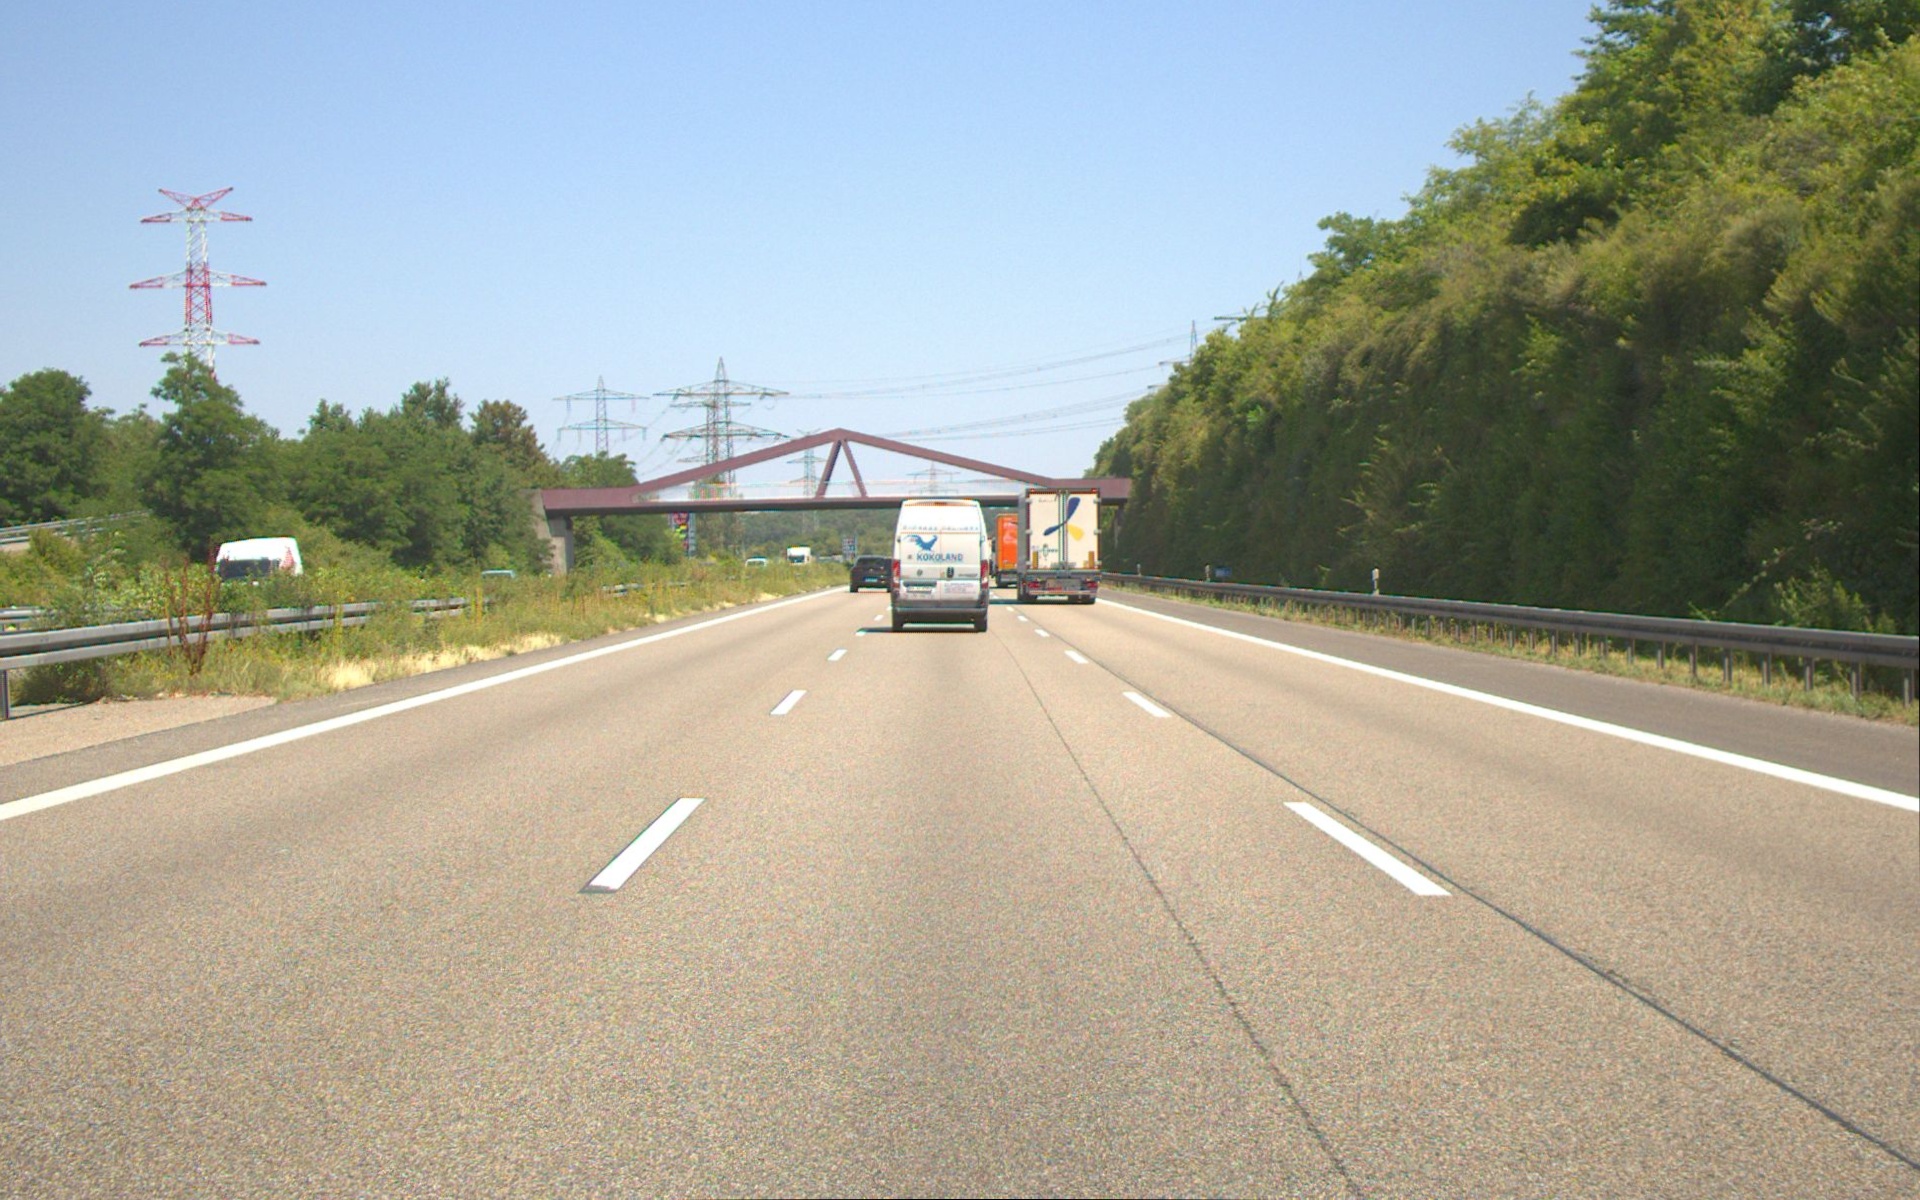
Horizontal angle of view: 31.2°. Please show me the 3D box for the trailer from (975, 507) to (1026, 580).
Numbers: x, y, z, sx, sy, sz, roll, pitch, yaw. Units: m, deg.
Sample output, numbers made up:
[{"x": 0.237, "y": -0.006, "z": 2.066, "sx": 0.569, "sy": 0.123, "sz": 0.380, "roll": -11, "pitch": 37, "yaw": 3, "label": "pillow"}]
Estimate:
[{"x": 2.207, "y": -3.086, "z": 188.824, "sx": 2.637, "sy": 3.883, "sz": 7.069, "roll": 1, "pitch": 1, "yaw": 0, "label": "trailer"}]

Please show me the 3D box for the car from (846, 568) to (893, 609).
[{"x": -4.209, "y": -0.537, "z": 160.451, "sx": 1.982, "sy": 1.811, "sz": 3.812, "roll": 1, "pitch": 1, "yaw": 1, "label": "car"}]

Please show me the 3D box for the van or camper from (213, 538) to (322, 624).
[{"x": -21.340, "y": -0.614, "z": 106.222, "sx": 2.059, "sy": 2.516, "sz": 6.390, "roll": 1, "pitch": 1, "yaw": 0, "label": "van or camper"}]

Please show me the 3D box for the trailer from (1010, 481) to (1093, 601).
[{"x": 3.227, "y": -2.103, "z": 124.217, "sx": 2.637, "sy": 4.046, "sz": 12.366, "roll": 1, "pitch": 1, "yaw": 0, "label": "trailer"}]

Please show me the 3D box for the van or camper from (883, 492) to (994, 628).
[{"x": -0.472, "y": -0.861, "z": 73.763, "sx": 2.230, "sy": 2.772, "sz": 5.423, "roll": 1, "pitch": 1, "yaw": -1, "label": "van or camper"}]
